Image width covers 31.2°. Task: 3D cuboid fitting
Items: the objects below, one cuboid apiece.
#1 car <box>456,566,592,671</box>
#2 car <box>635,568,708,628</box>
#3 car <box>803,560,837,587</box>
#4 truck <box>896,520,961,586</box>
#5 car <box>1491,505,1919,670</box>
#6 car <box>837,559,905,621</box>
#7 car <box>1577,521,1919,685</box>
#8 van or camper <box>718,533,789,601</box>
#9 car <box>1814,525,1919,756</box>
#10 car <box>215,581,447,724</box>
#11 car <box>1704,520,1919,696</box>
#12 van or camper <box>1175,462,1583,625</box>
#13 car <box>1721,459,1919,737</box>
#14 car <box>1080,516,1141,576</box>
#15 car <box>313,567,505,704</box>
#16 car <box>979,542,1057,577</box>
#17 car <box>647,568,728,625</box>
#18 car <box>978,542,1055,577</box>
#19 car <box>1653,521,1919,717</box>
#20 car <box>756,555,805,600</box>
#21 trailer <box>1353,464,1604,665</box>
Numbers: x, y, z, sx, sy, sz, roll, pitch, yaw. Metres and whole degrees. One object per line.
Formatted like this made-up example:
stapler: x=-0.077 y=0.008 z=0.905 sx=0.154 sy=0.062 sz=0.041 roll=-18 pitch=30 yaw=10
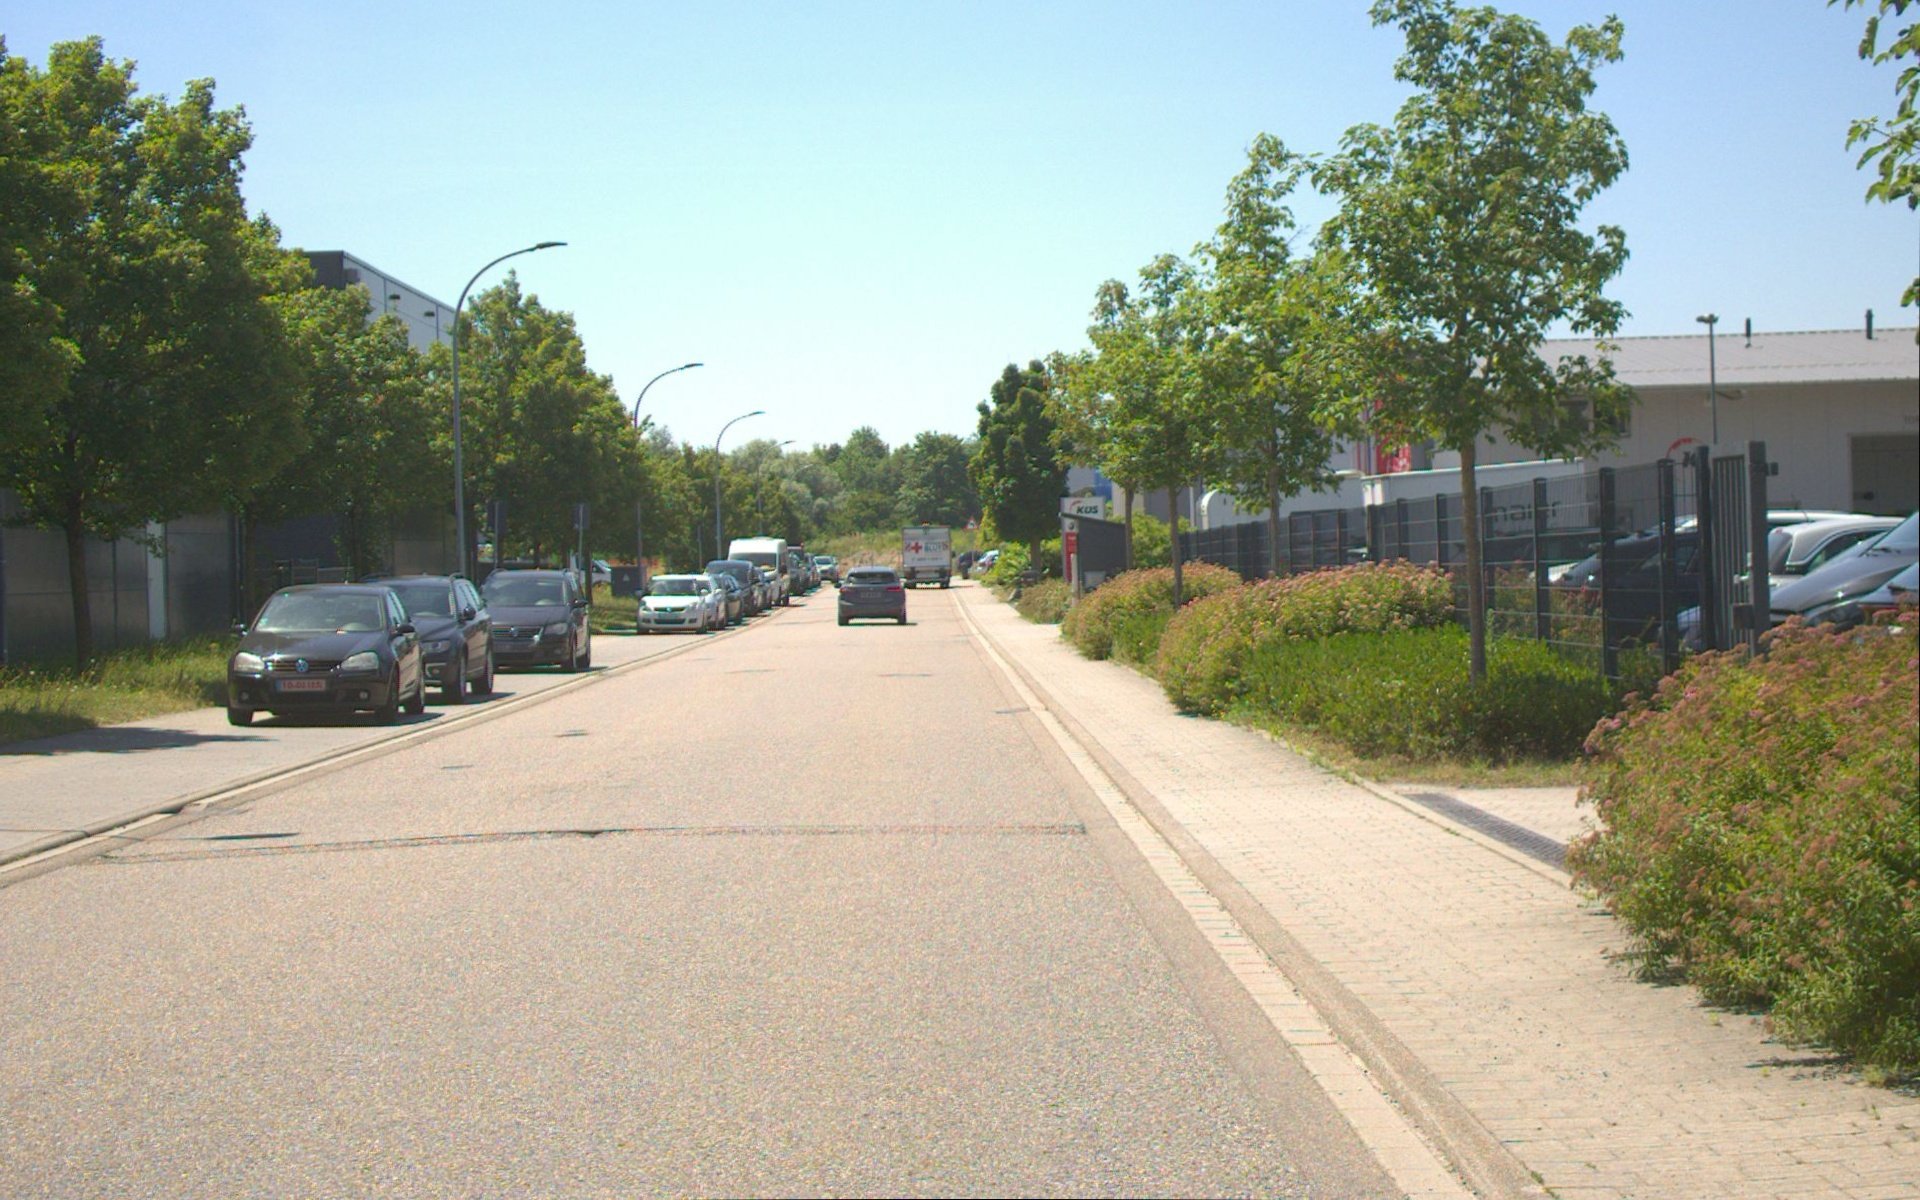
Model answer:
car: x=-7.029 y=0.260 z=55.738 sx=1.770 sy=1.606 sz=4.248 roll=-1 pitch=1 yaw=-2
car: x=-7.327 y=-0.064 z=87.552 sx=1.720 sy=1.471 sz=3.858 roll=-1 pitch=1 yaw=-3
car: x=-8.395 y=-1.603 z=206.231 sx=1.799 sy=1.482 sz=4.252 roll=-1 pitch=1 yaw=1
truck: x=-1.440 y=-2.190 z=160.058 sx=2.933 sy=2.963 sz=6.419 roll=1 pitch=1 yaw=0
car: x=7.678 y=-0.137 z=35.663 sx=3.987 sy=1.517 sz=1.823 roll=-2 pitch=1 yaw=-1
car: x=-2.382 y=-0.293 z=92.849 sx=1.789 sy=1.618 sz=3.809 roll=1 pitch=1 yaw=-1
car: x=7.900 y=0.005 z=32.809 sx=3.664 sy=1.417 sz=1.645 roll=-2 pitch=1 yaw=-1
van or camper: x=-7.697 y=-1.225 z=128.734 sx=2.078 sy=2.474 sz=6.130 roll=1 pitch=1 yaw=2
car: x=7.862 y=0.158 z=22.136 sx=4.215 sy=1.417 sz=1.765 roll=-2 pitch=1 yaw=-1
car: x=-6.776 y=0.529 z=37.412 sx=1.771 sy=1.426 sz=4.201 roll=-1 pitch=1 yaw=0
car: x=8.942 y=-0.006 z=30.370 sx=4.279 sy=1.440 sz=1.755 roll=-3 pitch=1 yaw=-1
van or camper: x=7.303 y=-0.989 z=60.550 sx=6.757 sy=2.576 sz=2.636 roll=-2 pitch=1 yaw=-1
car: x=8.274 y=-0.130 z=24.634 sx=5.113 sy=1.867 sz=1.903 roll=-3 pitch=1 yaw=-1
car: x=4.789 y=-1.699 z=109.976 sx=1.785 sy=1.777 sz=4.905 roll=-3 pitch=0 yaw=2
car: x=-6.903 y=0.403 z=43.528 sx=1.770 sy=1.606 sz=4.853 roll=-1 pitch=1 yaw=-2
car: x=2.954 y=-2.059 z=175.349 sx=3.875 sy=1.744 sz=1.752 roll=1 pitch=0 yaw=-3
car: x=-7.323 y=-0.117 z=92.814 sx=1.799 sy=1.471 sz=4.555 roll=-1 pitch=1 yaw=0
car: x=2.919 y=-2.085 z=177.949 sx=3.875 sy=1.744 sz=1.752 roll=1 pitch=0 yaw=-3
car: x=7.941 y=0.082 z=27.635 sx=4.344 sy=1.444 sz=1.603 roll=-3 pitch=1 yaw=-1
car: x=-7.771 y=-0.991 z=149.029 sx=1.799 sy=1.842 sz=4.252 roll=-1 pitch=1 yaw=1
trailer: x=6.651 y=-0.458 z=44.233 sx=2.822 sy=2.395 sz=1.420 roll=-3 pitch=1 yaw=-4
